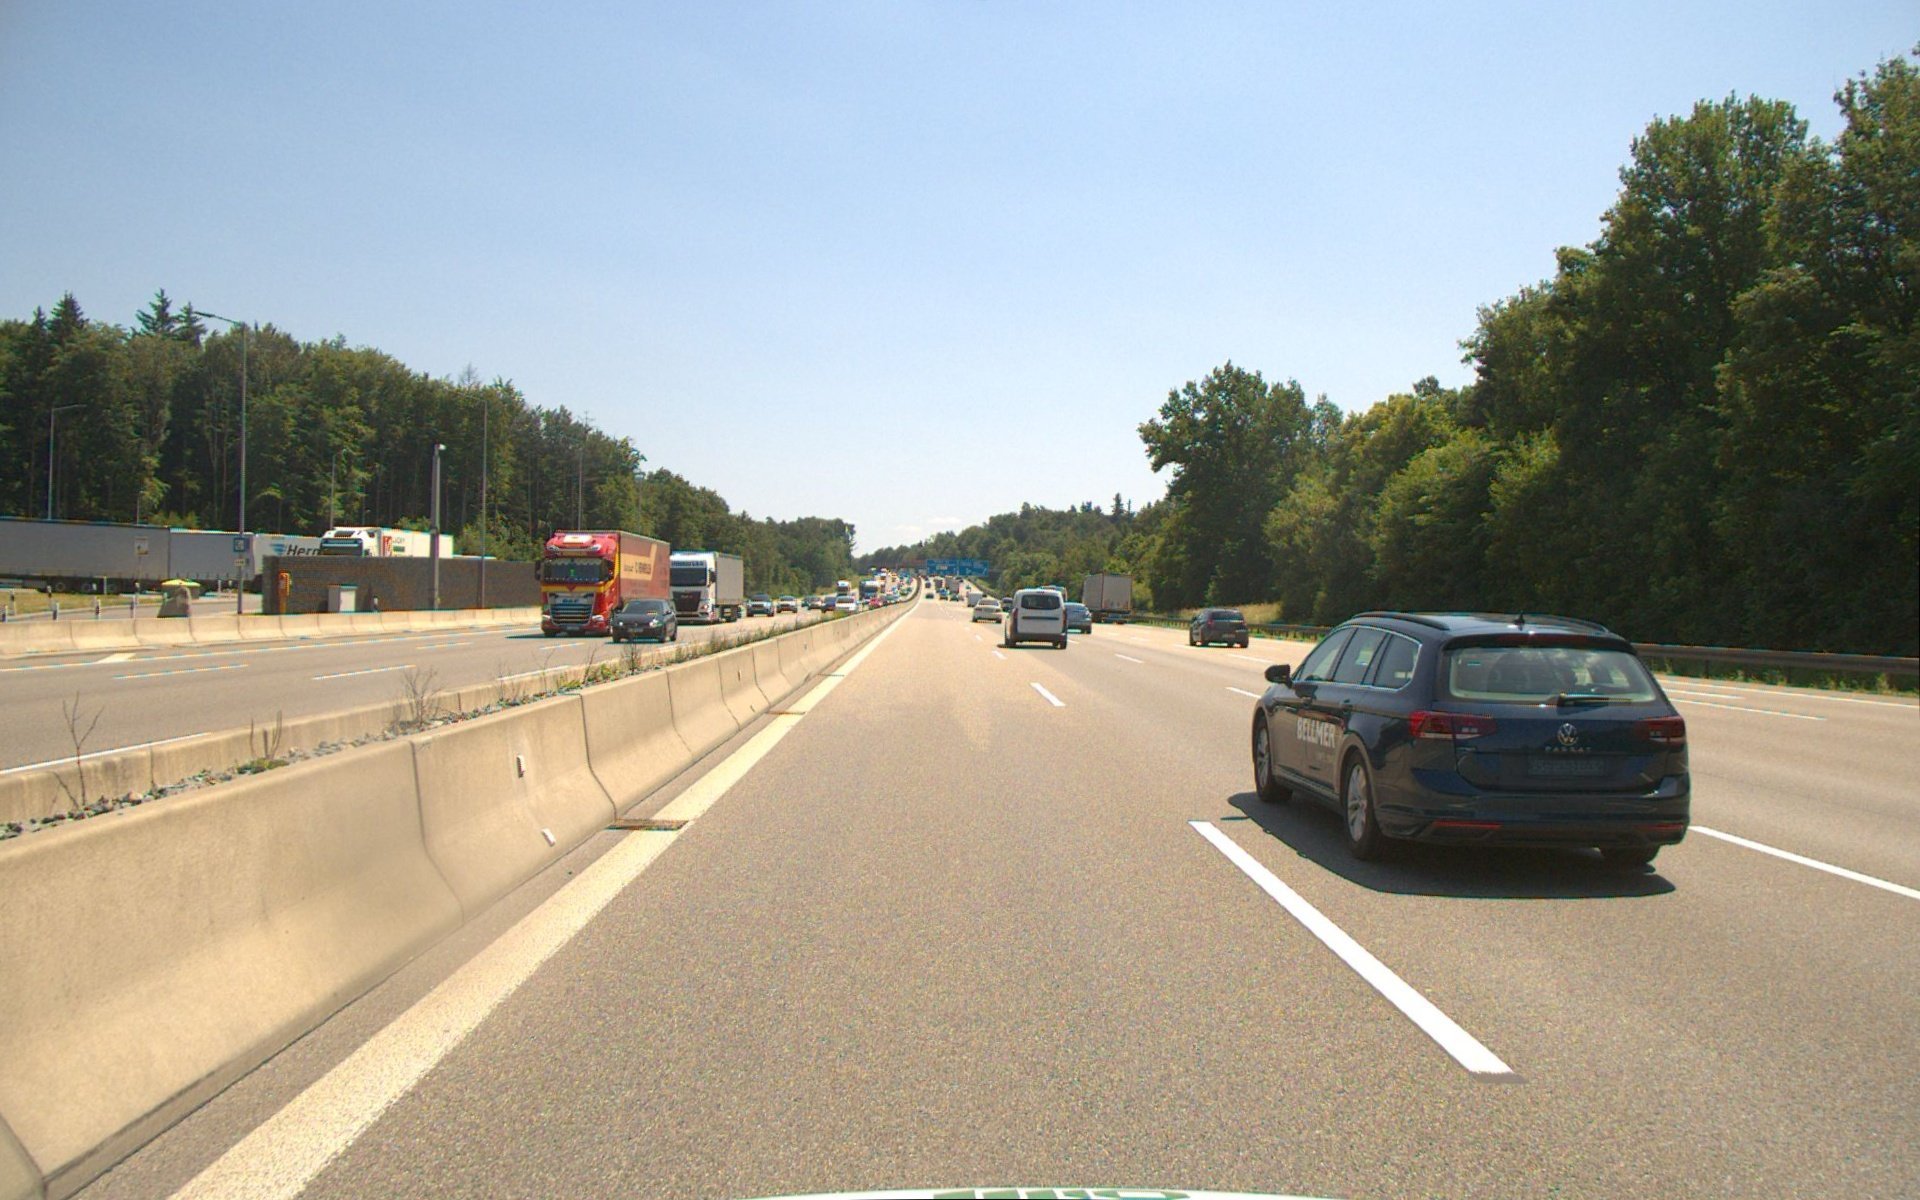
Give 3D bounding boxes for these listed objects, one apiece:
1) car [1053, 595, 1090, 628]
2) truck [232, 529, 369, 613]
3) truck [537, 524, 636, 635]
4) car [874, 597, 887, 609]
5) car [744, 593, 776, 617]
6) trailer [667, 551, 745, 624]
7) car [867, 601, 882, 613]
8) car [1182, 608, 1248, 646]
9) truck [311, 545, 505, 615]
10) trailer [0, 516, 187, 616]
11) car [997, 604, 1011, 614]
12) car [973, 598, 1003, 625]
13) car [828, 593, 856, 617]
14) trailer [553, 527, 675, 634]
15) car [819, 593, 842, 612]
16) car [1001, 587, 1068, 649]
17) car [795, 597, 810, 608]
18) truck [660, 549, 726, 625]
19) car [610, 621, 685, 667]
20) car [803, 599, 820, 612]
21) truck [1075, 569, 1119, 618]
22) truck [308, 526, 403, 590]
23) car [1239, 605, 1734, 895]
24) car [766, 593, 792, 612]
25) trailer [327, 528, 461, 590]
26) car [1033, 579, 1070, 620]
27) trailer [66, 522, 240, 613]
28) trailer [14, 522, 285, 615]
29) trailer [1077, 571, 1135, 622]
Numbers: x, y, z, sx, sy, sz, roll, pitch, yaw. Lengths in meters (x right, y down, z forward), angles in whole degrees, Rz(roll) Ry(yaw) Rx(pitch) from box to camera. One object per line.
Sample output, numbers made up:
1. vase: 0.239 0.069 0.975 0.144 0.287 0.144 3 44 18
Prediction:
1. car: 5.432 0.546 80.643 1.473 1.527 3.649 0 0 -1
2. truck: -46.572 -1.957 117.063 3.172 5.711 8.433 1 0 43
3. truck: -14.531 -0.759 64.721 2.476 4.120 6.470 1 0 -1
4. car: -11.705 0.428 243.729 1.954 1.692 5.751 0 0 -3
5. car: -15.742 0.373 130.378 1.953 1.805 5.037 1 0 -1
6. trailer: -15.091 -0.712 99.349 2.698 4.071 14.463 1 0 -1
7. car: -10.878 0.863 209.962 1.695 1.540 5.043 1 0 -1
8. car: 9.465 0.994 61.640 1.637 1.296 4.288 2 0 -1
9. truck: -48.269 -1.647 145.554 3.392 5.711 16.599 1 0 43
10. trailer: -49.420 -1.768 88.504 3.076 5.161 14.471 1 0 43
11. car: 6.132 1.241 230.641 1.798 1.361 3.642 0 0 -1
12. car: 1.809 0.737 106.916 1.805 1.657 4.553 0 0 -1
13. car: -9.152 0.390 128.600 1.953 1.805 5.037 1 0 -1
14. trailer: -14.690 -0.777 71.440 2.519 4.120 14.178 1 0 -1
15. car: -12.974 0.274 165.717 1.953 1.805 5.922 1 0 -1
16. car: 2.334 0.554 52.753 1.822 1.858 4.611 1 0 -1
17. car: -23.328 0.326 245.328 1.954 1.649 4.212 0 0 -3
18. truck: -14.906 -0.688 92.830 2.679 4.102 6.779 0 0 -1
19. car: -10.540 1.453 56.063 1.784 1.411 4.315 1 0 -1
20. car: -18.029 0.718 200.948 1.695 1.540 4.169 1 0 -1
21. truck: 12.361 -0.641 149.987 3.189 4.177 5.986 3 1 -1
22. truck: -32.074 -2.166 87.989 2.867 3.178 6.201 1 0 -1
23. car: 3.154 0.784 11.066 1.694 1.472 4.960 0 0 -1
24. car: -17.311 0.210 158.599 1.953 1.805 5.922 1 0 -1
25. trailer: -32.232 -2.215 95.068 2.912 3.178 14.605 1 0 -1
26. car: 6.306 -0.046 114.835 2.100 2.698 5.708 2 1 -1
27. trailer: -53.379 -2.028 109.654 3.172 5.711 9.876 1 0 43
28. trailer: -48.555 -1.735 99.775 3.168 5.161 14.471 1 0 43
29. trailer: 12.511 -0.396 143.445 3.221 3.998 13.886 3 1 -2
